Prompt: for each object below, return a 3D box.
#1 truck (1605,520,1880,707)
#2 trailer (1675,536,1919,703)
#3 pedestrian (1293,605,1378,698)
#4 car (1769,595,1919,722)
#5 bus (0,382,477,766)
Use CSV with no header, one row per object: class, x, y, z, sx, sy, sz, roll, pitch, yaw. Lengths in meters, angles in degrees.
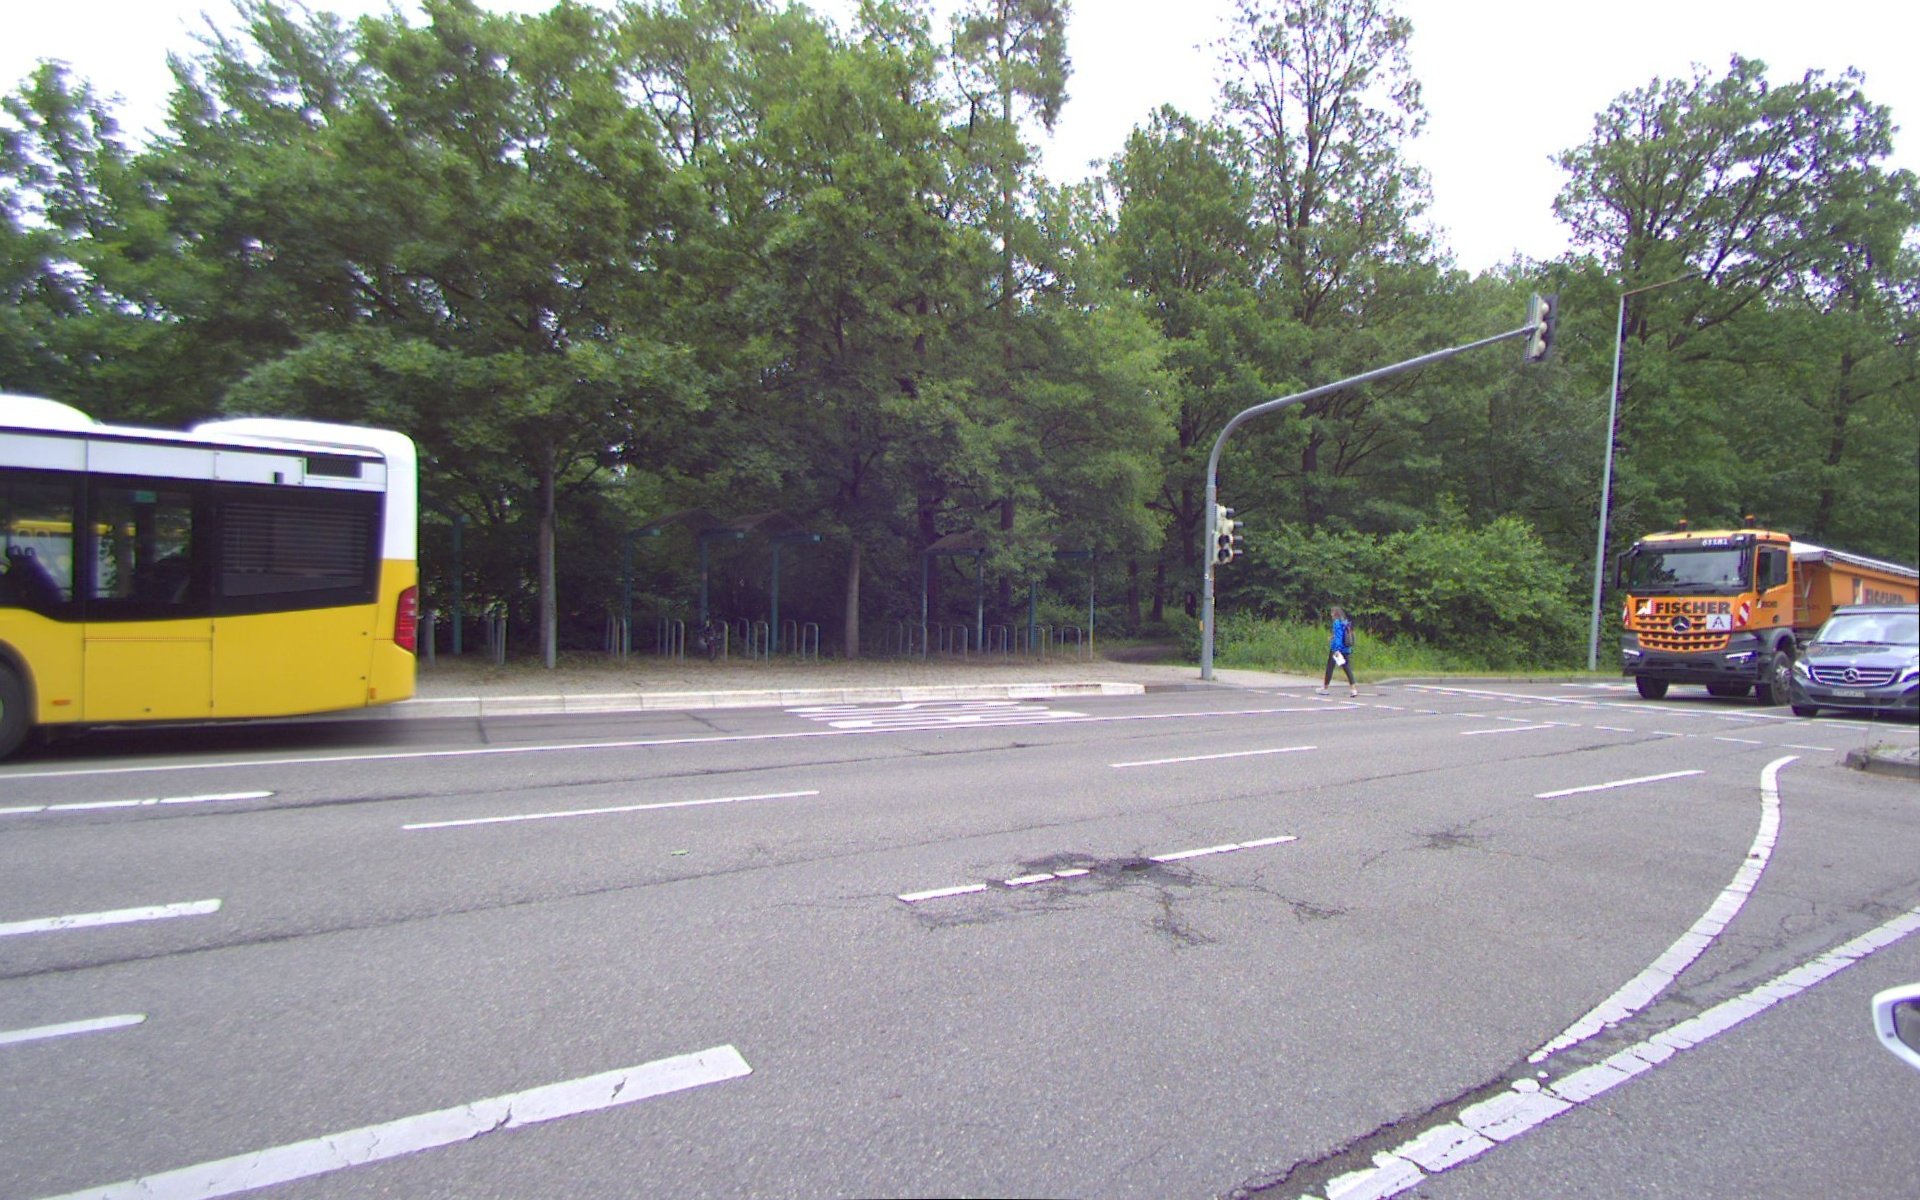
truck,16.682,0.388,21.248,7.091,3.362,2.720,3,-2,-36
trailer,20.208,0.557,23.807,8.486,3.362,2.720,3,-2,-36
pedestrian,7.017,0.932,18.784,1.055,1.671,1.043,0,0,-27
car,15.973,0.977,17.243,4.789,1.918,1.981,2,-2,-34
bus,-9.294,-0.241,9.165,8.593,3.169,2.884,1,0,-31
